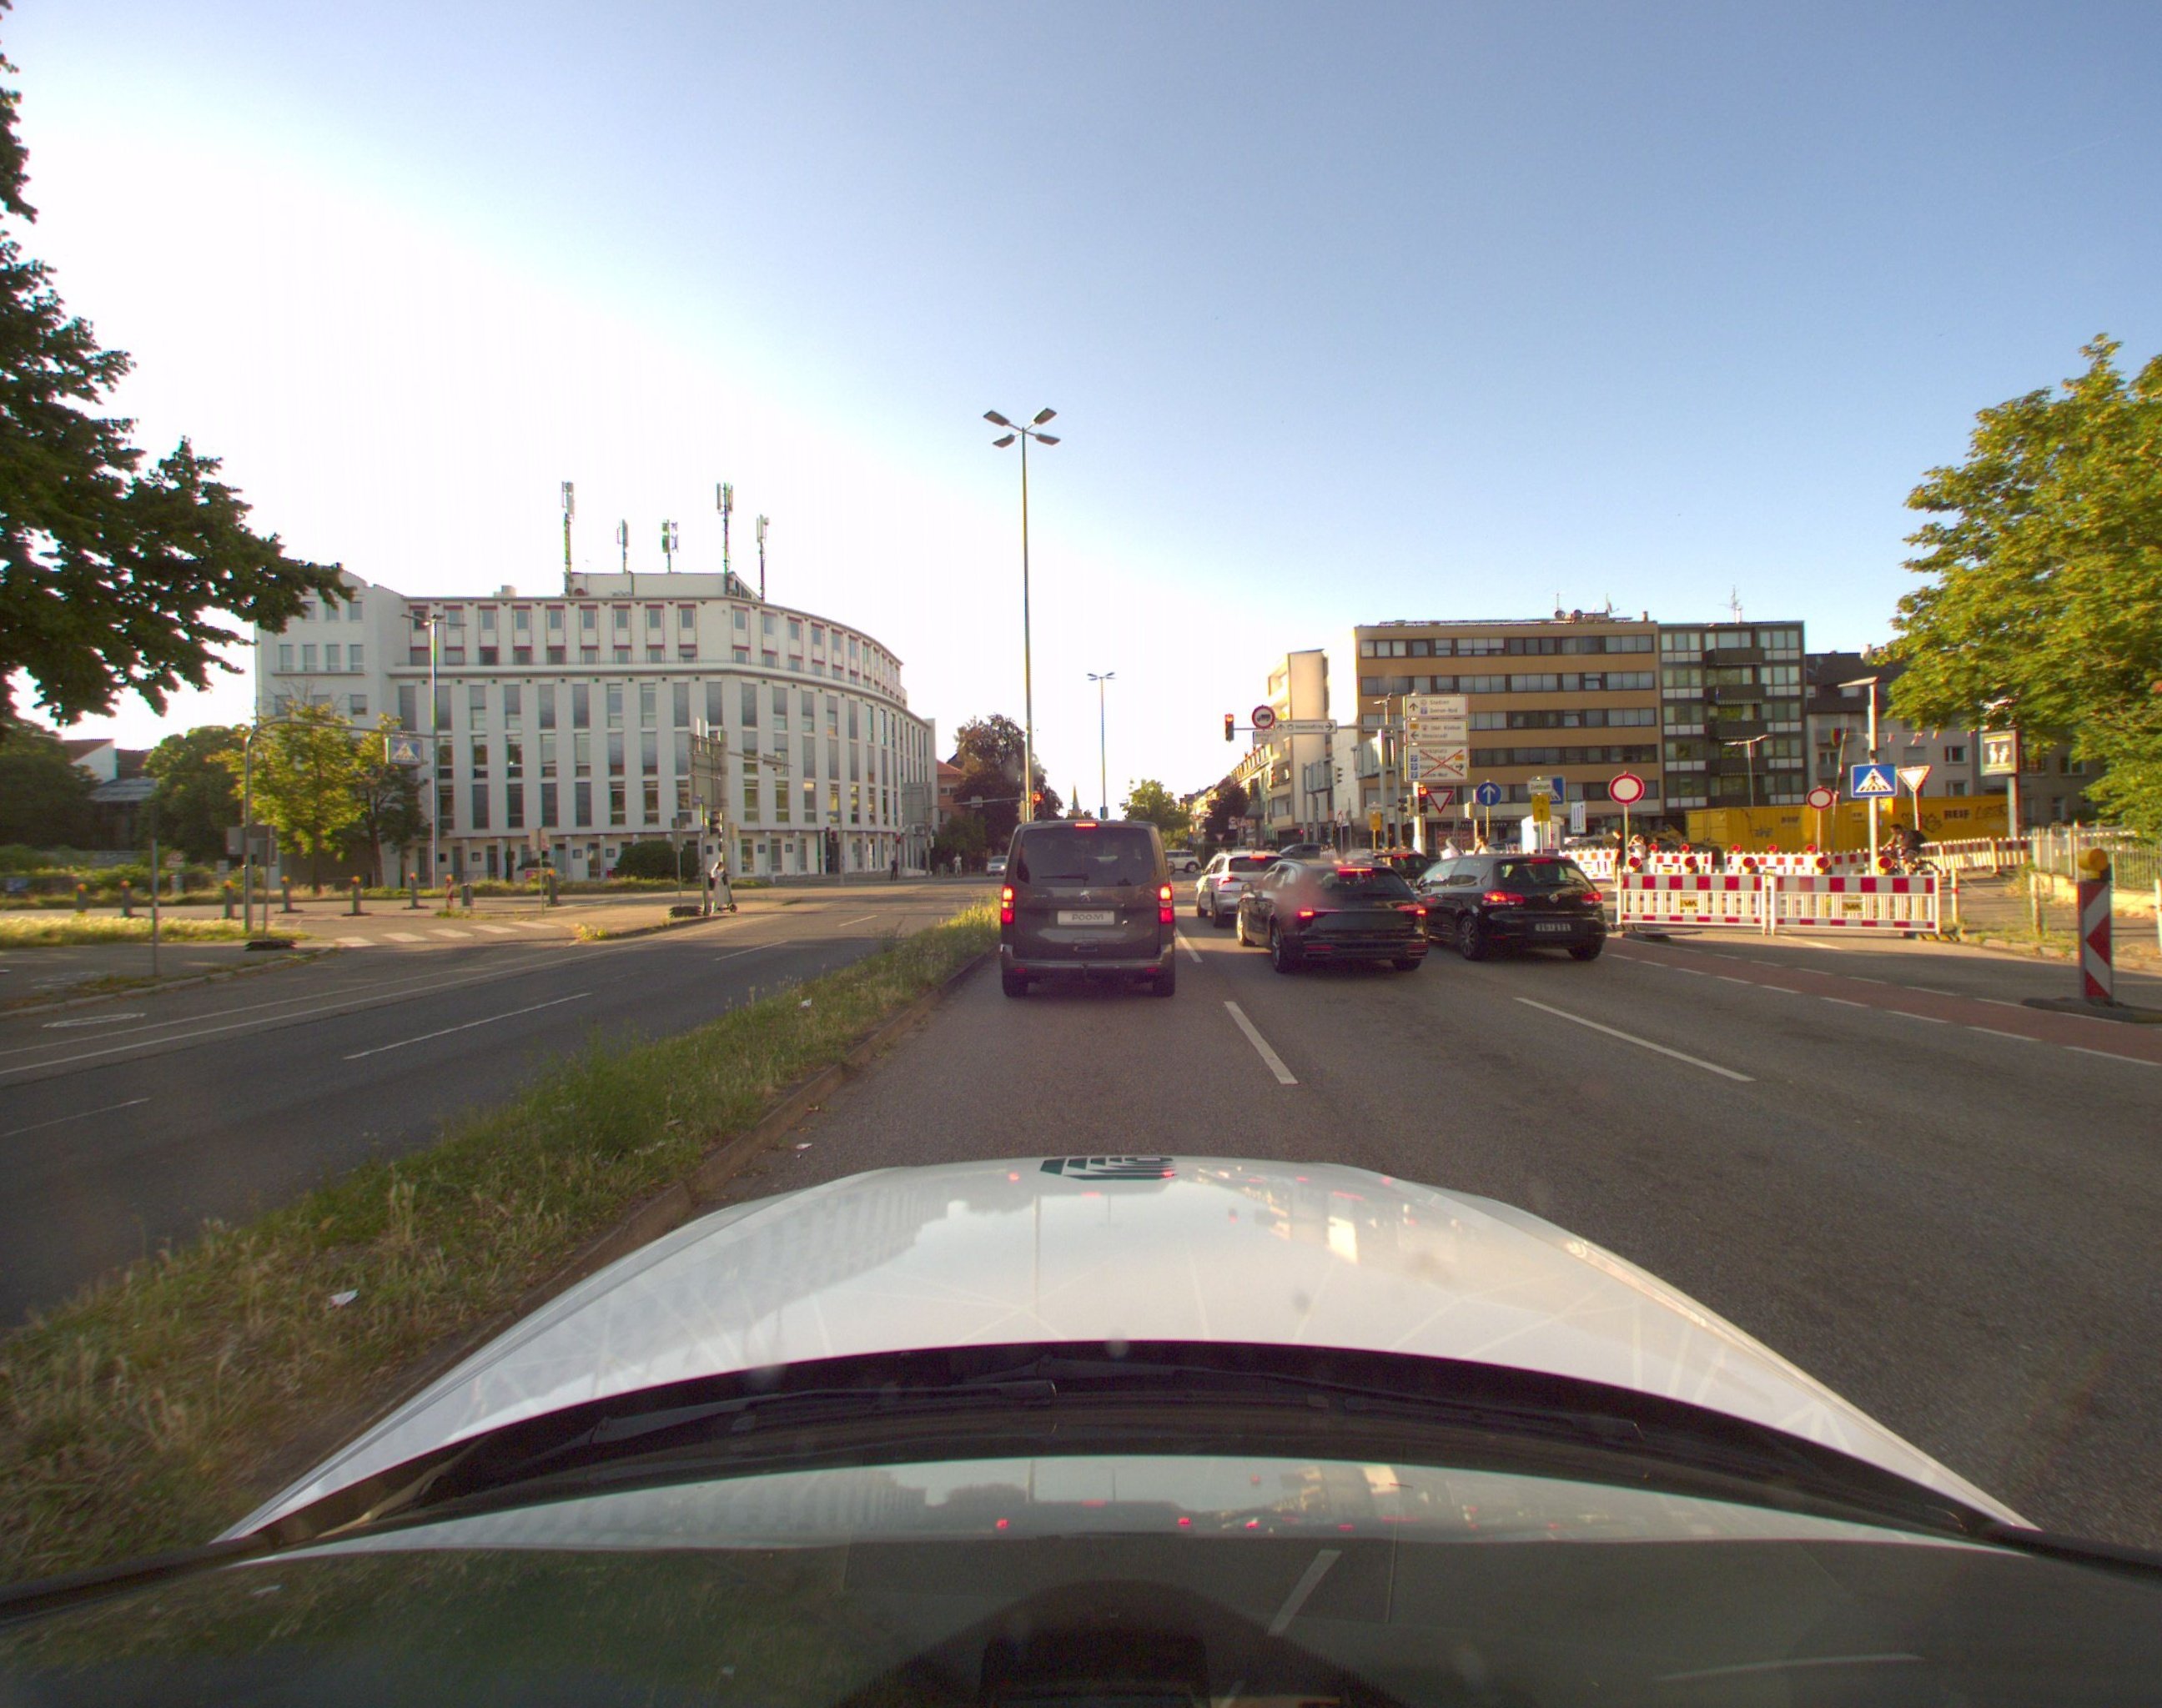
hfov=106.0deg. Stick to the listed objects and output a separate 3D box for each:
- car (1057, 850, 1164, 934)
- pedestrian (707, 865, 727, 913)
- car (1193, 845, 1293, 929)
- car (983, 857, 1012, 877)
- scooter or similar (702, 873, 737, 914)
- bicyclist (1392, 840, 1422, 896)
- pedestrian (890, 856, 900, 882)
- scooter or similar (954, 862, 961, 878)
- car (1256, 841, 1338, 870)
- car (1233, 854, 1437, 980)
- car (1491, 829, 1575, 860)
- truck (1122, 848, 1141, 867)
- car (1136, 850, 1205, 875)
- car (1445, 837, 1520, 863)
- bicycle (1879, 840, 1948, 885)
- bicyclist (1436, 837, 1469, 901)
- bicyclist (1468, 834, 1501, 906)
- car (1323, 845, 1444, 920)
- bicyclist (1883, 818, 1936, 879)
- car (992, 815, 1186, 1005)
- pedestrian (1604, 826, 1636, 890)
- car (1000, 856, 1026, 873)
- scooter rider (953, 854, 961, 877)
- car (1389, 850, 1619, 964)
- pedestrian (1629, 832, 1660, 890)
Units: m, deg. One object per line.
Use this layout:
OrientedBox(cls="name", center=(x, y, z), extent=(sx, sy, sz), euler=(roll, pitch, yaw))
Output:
OrientedBox(cls="car", center=(0.619, 0.709, 17.392), extent=(1.986, 1.530, 4.002), euler=(-2, 0, 2))
OrientedBox(cls="pedestrian", center=(-11.491, 1.100, 25.699), extent=(0.474, 1.505, 0.334), euler=(-2, 0, -10))
OrientedBox(cls="car", center=(3.380, 0.625, 17.601), extent=(1.523, 1.613, 3.747), euler=(0, 0, 2))
OrientedBox(cls="car", center=(-6.635, 1.029, 65.320), extent=(1.850, 1.420, 4.000), euler=(-2, 0, 0))
OrientedBox(cls="scooter or similar", center=(-11.316, 1.234, 25.513), extent=(0.893, 1.234, 0.370), euler=(-2, 0, -10))
OrientedBox(cls="bicyclist", center=(9.104, 0.378, 22.761), extent=(0.511, 1.525, 0.726), euler=(-2, 0, 2))
OrientedBox(cls="pedestrian", center=(-12.397, 0.977, 54.275), extent=(0.626, 1.722, 0.669), euler=(-2, 0, -12))
OrientedBox(cls="scooter or similar", center=(-9.300, 1.208, 61.261), extent=(0.284, 1.188, 1.170), euler=(-2, 0, 2))
OrientedBox(cls="car", center=(12.696, 0.111, 48.088), extent=(4.330, 1.549, 1.785), euler=(-2, 0, -4))
OrientedBox(cls="car", center=(3.290, 0.721, 11.400), extent=(1.675, 1.421, 4.216), euler=(0, 0, 2))
OrientedBox(cls="car", center=(28.634, -0.598, 51.713), extent=(4.199, 1.817, 2.001), euler=(-2, 0, 2))
OrientedBox(cls="truck", center=(5.819, 0.366, 94.078), extent=(2.119, 2.086, 4.635), euler=(-2, 0, 3))
OrientedBox(cls="car", center=(5.592, 0.505, 51.200), extent=(3.983, 1.420, 1.784), euler=(-2, 0, -7))
OrientedBox(cls="car", center=(24.213, -0.236, 49.198), extent=(3.664, 1.387, 1.696), euler=(-3, 0, -2))
OrientedBox(cls="bicycle", center=(21.860, 0.212, 21.382), extent=(1.491, 1.161, 0.373), euler=(0, 1, -3))
OrientedBox(cls="bicyclist", center=(9.032, 0.355, 19.825), extent=(0.439, 1.525, 0.726), euler=(-2, 0, 2))
OrientedBox(cls="bicyclist", center=(8.759, 0.338, 17.672), extent=(0.439, 1.525, 0.482), euler=(-2, 0, 1))
OrientedBox(cls="car", center=(6.528, 0.563, 17.926), extent=(1.499, 1.449, 3.306), euler=(-2, 0, 2))
OrientedBox(cls="bicyclist", center=(21.808, -0.153, 21.445), extent=(0.810, 1.589, 0.619), euler=(0, 1, -3))
OrientedBox(cls="car", center=(0.155, 0.544, 10.274), extent=(1.899, 1.863, 4.528), euler=(0, 0, 2))
OrientedBox(cls="pedestrian", center=(15.785, 0.118, 23.856), extent=(0.571, 1.834, 0.484), euler=(-2, 0, -18))
OrientedBox(cls="car", center=(-5.903, 0.885, 70.997), extent=(1.850, 1.420, 4.000), euler=(-2, 0, 0))
OrientedBox(cls="scooter rider", center=(-9.329, 0.872, 61.322), extent=(0.479, 1.697, 0.636), euler=(-2, 0, 2))
OrientedBox(cls="car", center=(6.109, 0.674, 12.282), extent=(1.627, 1.449, 3.747), euler=(0, 0, 2))
OrientedBox(cls="pedestrian", center=(16.591, 0.192, 23.976), extent=(0.604, 1.671, 0.451), euler=(-2, 0, -23))
